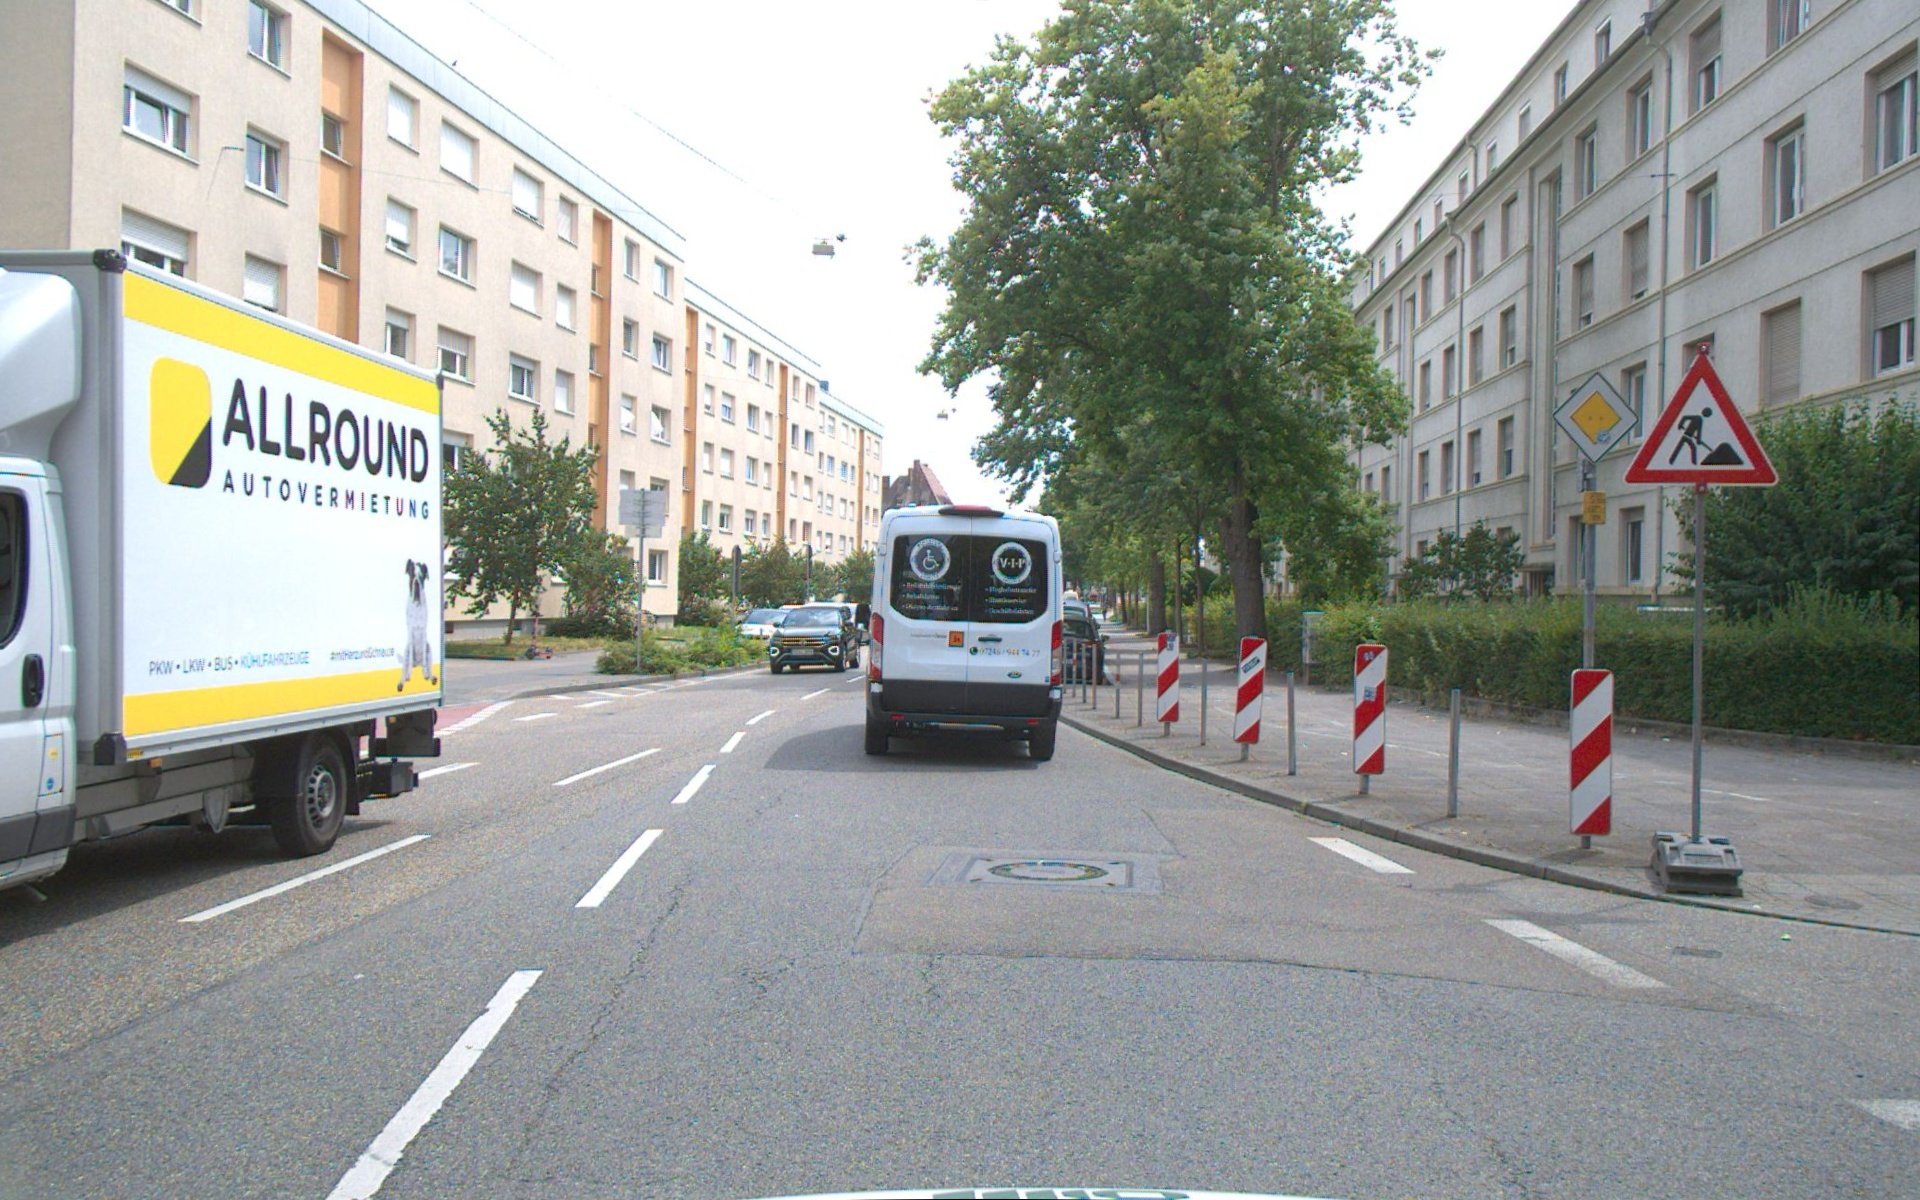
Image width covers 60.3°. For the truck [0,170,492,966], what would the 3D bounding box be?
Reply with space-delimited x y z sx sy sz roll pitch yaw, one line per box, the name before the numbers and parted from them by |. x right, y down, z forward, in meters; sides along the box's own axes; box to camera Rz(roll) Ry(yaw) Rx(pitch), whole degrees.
truck | -4.925 -0.103 8.738 2.488 3.162 7.023 -1 0 3

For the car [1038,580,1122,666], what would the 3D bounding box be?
car | 2.989 0.552 40.697 1.877 1.898 4.849 2 0 5

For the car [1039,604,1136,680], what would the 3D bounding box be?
car | 2.724 0.845 35.038 1.877 1.469 4.241 1 0 5

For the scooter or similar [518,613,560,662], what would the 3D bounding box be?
scooter or similar | -10.657 0.946 41.887 0.393 1.214 1.291 2 0 15

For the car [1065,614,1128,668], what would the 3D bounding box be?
car | 4.022 1.196 49.077 1.662 1.475 4.102 1 0 2

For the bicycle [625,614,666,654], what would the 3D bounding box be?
bicycle | -10.585 1.132 55.702 0.566 1.273 1.935 1 1 14

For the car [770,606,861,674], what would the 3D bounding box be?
car | -3.439 0.919 39.995 1.662 1.545 4.001 0 0 3

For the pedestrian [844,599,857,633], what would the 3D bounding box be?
pedestrian | -6.074 0.891 91.682 0.607 1.845 0.899 2 -1 1

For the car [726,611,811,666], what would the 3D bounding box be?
car | -5.630 1.102 49.045 1.672 1.498 3.991 2 0 5

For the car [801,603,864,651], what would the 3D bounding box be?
car | -4.707 0.979 61.436 1.662 1.641 4.479 2 0 4

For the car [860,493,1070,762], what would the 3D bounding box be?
car | 0.129 0.291 18.246 2.027 2.585 4.635 0 -1 2
